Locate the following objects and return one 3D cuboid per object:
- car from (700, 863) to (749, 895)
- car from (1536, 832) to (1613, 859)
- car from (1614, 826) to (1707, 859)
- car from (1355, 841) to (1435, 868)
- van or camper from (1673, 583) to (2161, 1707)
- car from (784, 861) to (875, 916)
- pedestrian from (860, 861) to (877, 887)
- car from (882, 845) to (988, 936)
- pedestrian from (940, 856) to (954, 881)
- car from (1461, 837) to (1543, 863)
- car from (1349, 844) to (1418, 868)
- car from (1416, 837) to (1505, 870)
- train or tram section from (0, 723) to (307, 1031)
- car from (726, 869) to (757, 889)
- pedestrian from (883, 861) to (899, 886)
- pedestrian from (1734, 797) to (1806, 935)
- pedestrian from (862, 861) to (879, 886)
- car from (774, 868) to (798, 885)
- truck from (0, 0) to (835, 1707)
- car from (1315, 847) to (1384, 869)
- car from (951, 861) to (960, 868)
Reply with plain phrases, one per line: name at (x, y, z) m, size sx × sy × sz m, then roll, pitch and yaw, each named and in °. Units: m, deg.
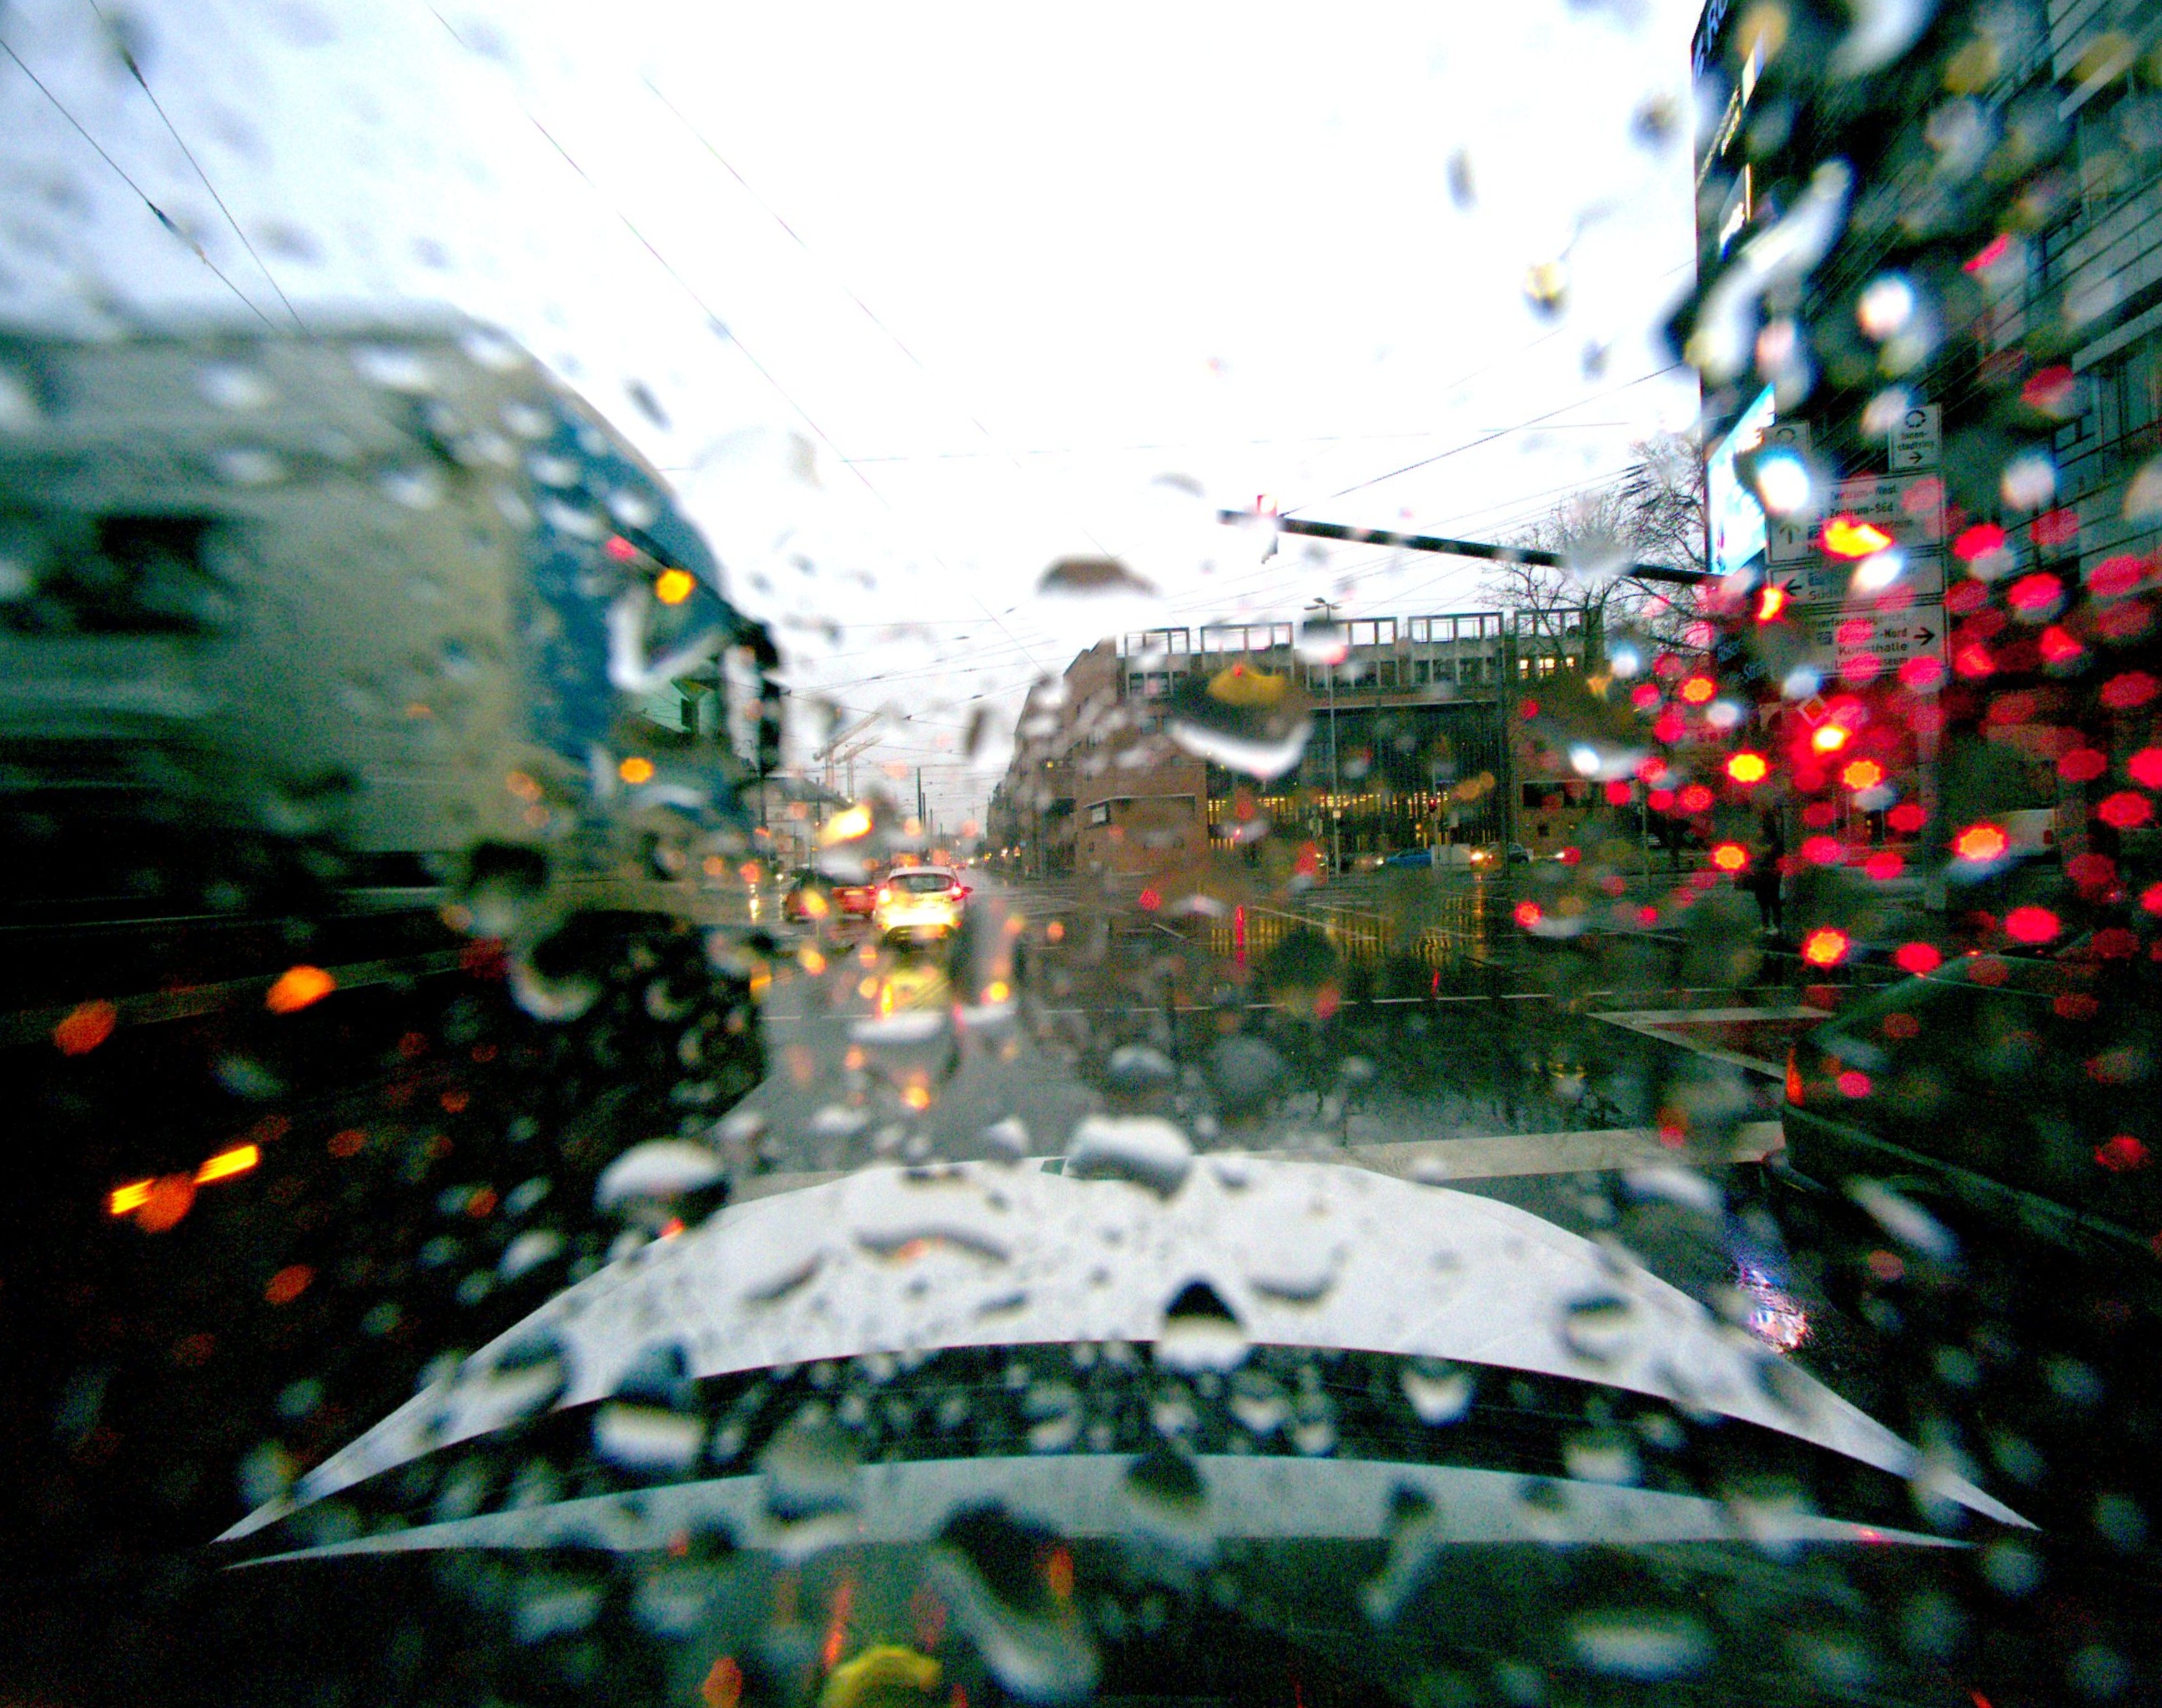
car at (-19.453, 1.320, 44.358) m, size 2.056 × 1.561 × 4.789 m, roll -2°, pitch 0°, yaw -28°
car at (32.157, -0.579, 53.091) m, size 3.979 × 1.504 × 1.845 m, roll -2°, pitch 4°, yaw -4°
car at (32.244, -0.653, 45.346) m, size 3.979 × 1.600 × 1.845 m, roll -2°, pitch 4°, yaw -4°
car at (18.310, 0.013, 47.544) m, size 3.979 × 1.263 × 1.845 m, roll -2°, pitch 4°, yaw -4°
van or camper at (2.664, 0.491, 0.320) m, size 1.750 × 1.906 × 4.420 m, roll -1°, pitch 0°, yaw 2°
car at (-7.666, 1.008, 24.619) m, size 1.709 × 1.459 × 3.719 m, roll -2°, pitch 0°, yaw -32°
pedestrian at (-16.972, 1.587, 64.954) m, size 0.973 × 2.014 × 0.838 m, roll -1°, pitch -1°, yaw 16°
car at (-2.859, 0.758, 15.795) m, size 1.707 × 1.448 × 3.983 m, roll -3°, pitch -4°, yaw -12°
pedestrian at (-11.149, 1.184, 67.547) m, size 1.069 × 2.013 × 0.682 m, roll -2°, pitch 0°, yaw -12°
car at (24.817, -0.256, 48.096) m, size 3.979 × 1.288 × 1.845 m, roll -2°, pitch 4°, yaw -4°
car at (19.143, 0.119, 51.613) m, size 3.713 × 1.263 × 1.845 m, roll -2°, pitch 4°, yaw -4°
car at (20.429, -0.058, 43.911) m, size 3.979 × 1.504 × 1.845 m, roll -2°, pitch 4°, yaw -4°
train or tram section at (-14.176, 0.296, 3.650) m, size 2.855 × 3.614 × 19.212 m, roll -2°, pitch 0°, yaw 0°
car at (-30.096, 2.193, 72.345) m, size 1.787 × 1.624 × 3.850 m, roll -1°, pitch 0°, yaw -11°
pedestrian at (-15.590, 1.591, 66.917) m, size 0.973 × 2.014 × 0.838 m, roll -1°, pitch -1°, yaw 16°
pedestrian at (11.267, 0.192, 13.339) m, size 0.574 × 2.184 × 0.619 m, roll -1°, pitch -1°, yaw -4°
pedestrian at (-17.084, 1.600, 66.096) m, size 0.973 × 2.014 × 0.838 m, roll -1°, pitch -1°, yaw 16°
car at (-31.445, 2.378, 86.915) m, size 1.787 × 1.624 × 3.850 m, roll -1°, pitch 0°, yaw -11°
truck at (-2.864, -0.145, 0.635) m, size 2.829 × 3.633 × 7.527 m, roll -2°, pitch 0°, yaw 1°
car at (18.245, 0.290, 55.464) m, size 3.977 × 1.310 × 1.998 m, roll -2°, pitch 0°, yaw -2°
car at (-29.241, 2.369, 190.158) m, size 1.869 × 1.579 × 3.989 m, roll 0°, pitch 0°, yaw -8°
